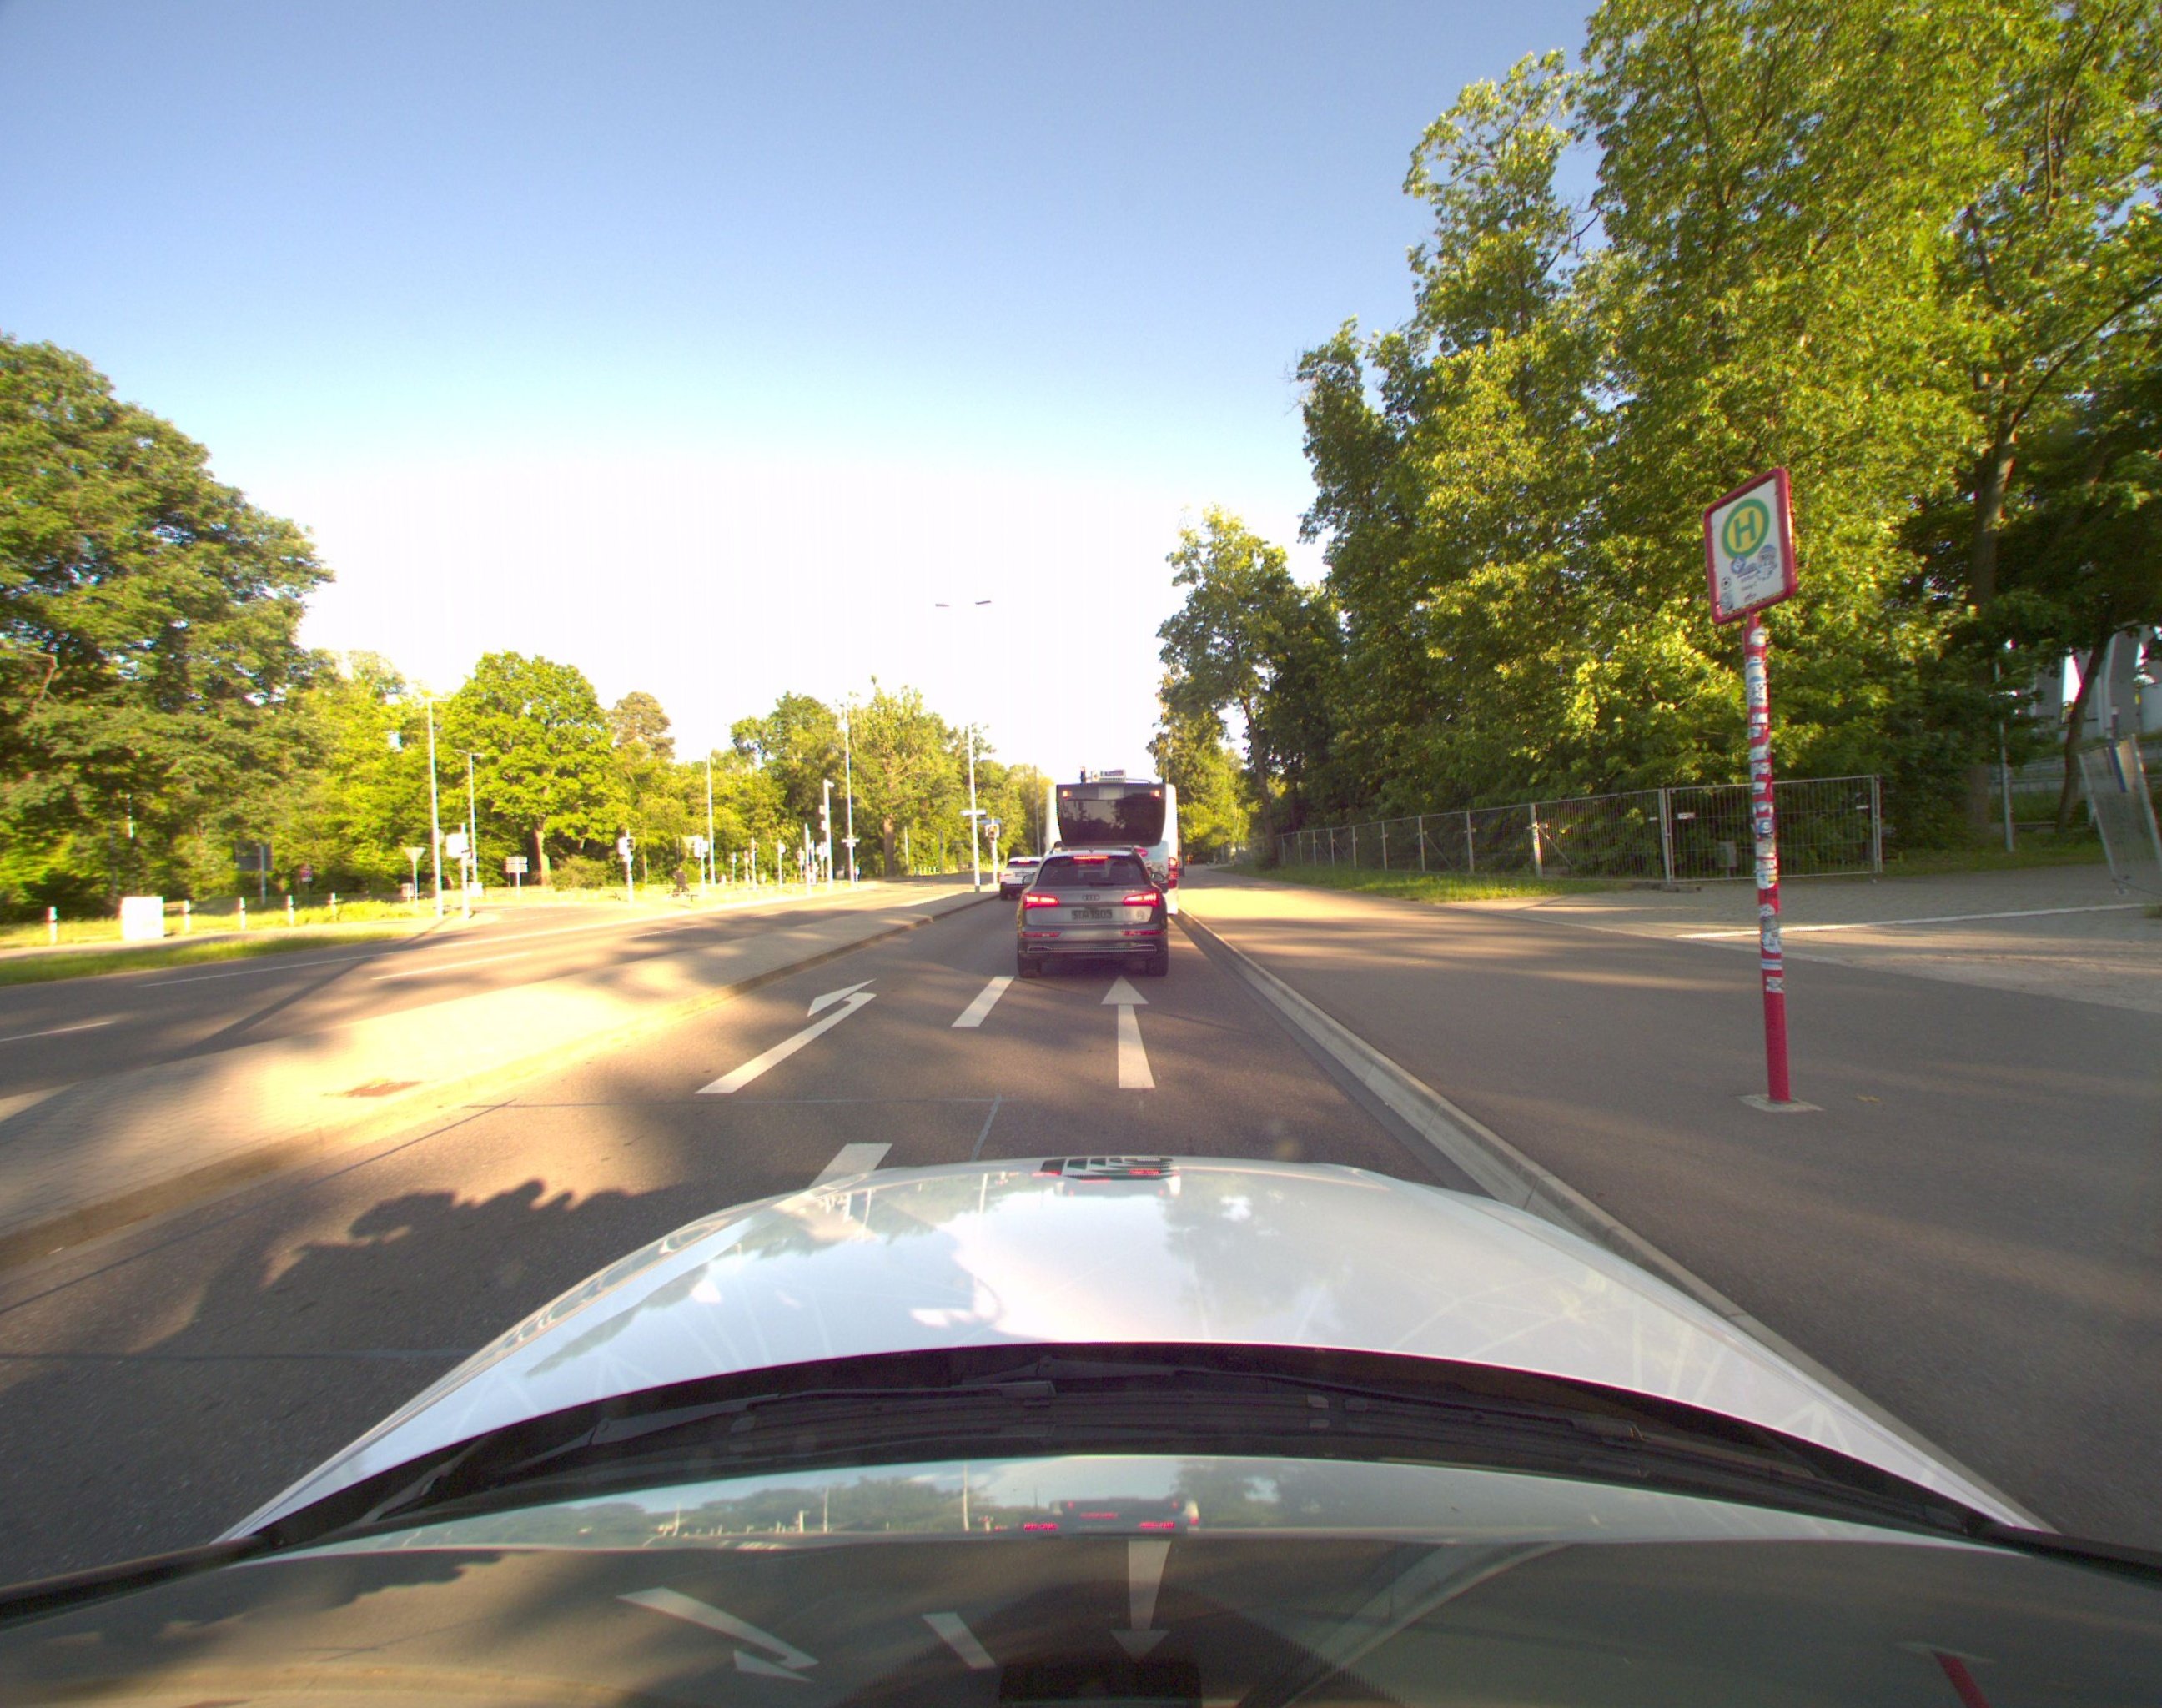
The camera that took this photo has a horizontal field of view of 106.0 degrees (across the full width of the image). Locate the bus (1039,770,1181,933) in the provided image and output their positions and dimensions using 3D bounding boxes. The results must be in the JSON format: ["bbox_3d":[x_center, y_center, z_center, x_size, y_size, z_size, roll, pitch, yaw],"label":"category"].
[{"bbox_3d":[0.691,0.008,19.848,2.585,2.989,9.330,-1,-1,2],"label":"bus"}]

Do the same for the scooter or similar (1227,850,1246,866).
[{"bbox_3d":[15.676,0.404,82.016,0.543,1.567,1.999,-3,0,-37],"label":"scooter or similar"}]

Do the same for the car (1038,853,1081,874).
[{"bbox_3d":[-1.627,0.720,63.880,1.979,1.498,4.808,-3,0,15],"label":"car"}]

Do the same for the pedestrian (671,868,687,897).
[{"bbox_3d":[-22.617,1.603,45.779,0.652,1.560,0.533,-2,-1,-41],"label":"pedestrian"}]

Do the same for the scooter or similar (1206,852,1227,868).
[{"bbox_3d":[13.464,0.615,80.774,2.025,1.444,0.601,-3,0,-23],"label":"scooter or similar"}]

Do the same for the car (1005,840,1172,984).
[{"bbox_3d":[0.152,0.667,11.350,1.891,1.632,4.002,-1,0,2],"label":"car"}]

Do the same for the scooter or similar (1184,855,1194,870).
[{"bbox_3d":[11.064,0.869,83.456,0.507,1.444,2.020,-3,0,-3],"label":"scooter or similar"}]

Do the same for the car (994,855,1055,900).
[{"bbox_3d":[-2.049,0.837,30.563,1.829,1.518,4.002,-2,0,2],"label":"car"}]
